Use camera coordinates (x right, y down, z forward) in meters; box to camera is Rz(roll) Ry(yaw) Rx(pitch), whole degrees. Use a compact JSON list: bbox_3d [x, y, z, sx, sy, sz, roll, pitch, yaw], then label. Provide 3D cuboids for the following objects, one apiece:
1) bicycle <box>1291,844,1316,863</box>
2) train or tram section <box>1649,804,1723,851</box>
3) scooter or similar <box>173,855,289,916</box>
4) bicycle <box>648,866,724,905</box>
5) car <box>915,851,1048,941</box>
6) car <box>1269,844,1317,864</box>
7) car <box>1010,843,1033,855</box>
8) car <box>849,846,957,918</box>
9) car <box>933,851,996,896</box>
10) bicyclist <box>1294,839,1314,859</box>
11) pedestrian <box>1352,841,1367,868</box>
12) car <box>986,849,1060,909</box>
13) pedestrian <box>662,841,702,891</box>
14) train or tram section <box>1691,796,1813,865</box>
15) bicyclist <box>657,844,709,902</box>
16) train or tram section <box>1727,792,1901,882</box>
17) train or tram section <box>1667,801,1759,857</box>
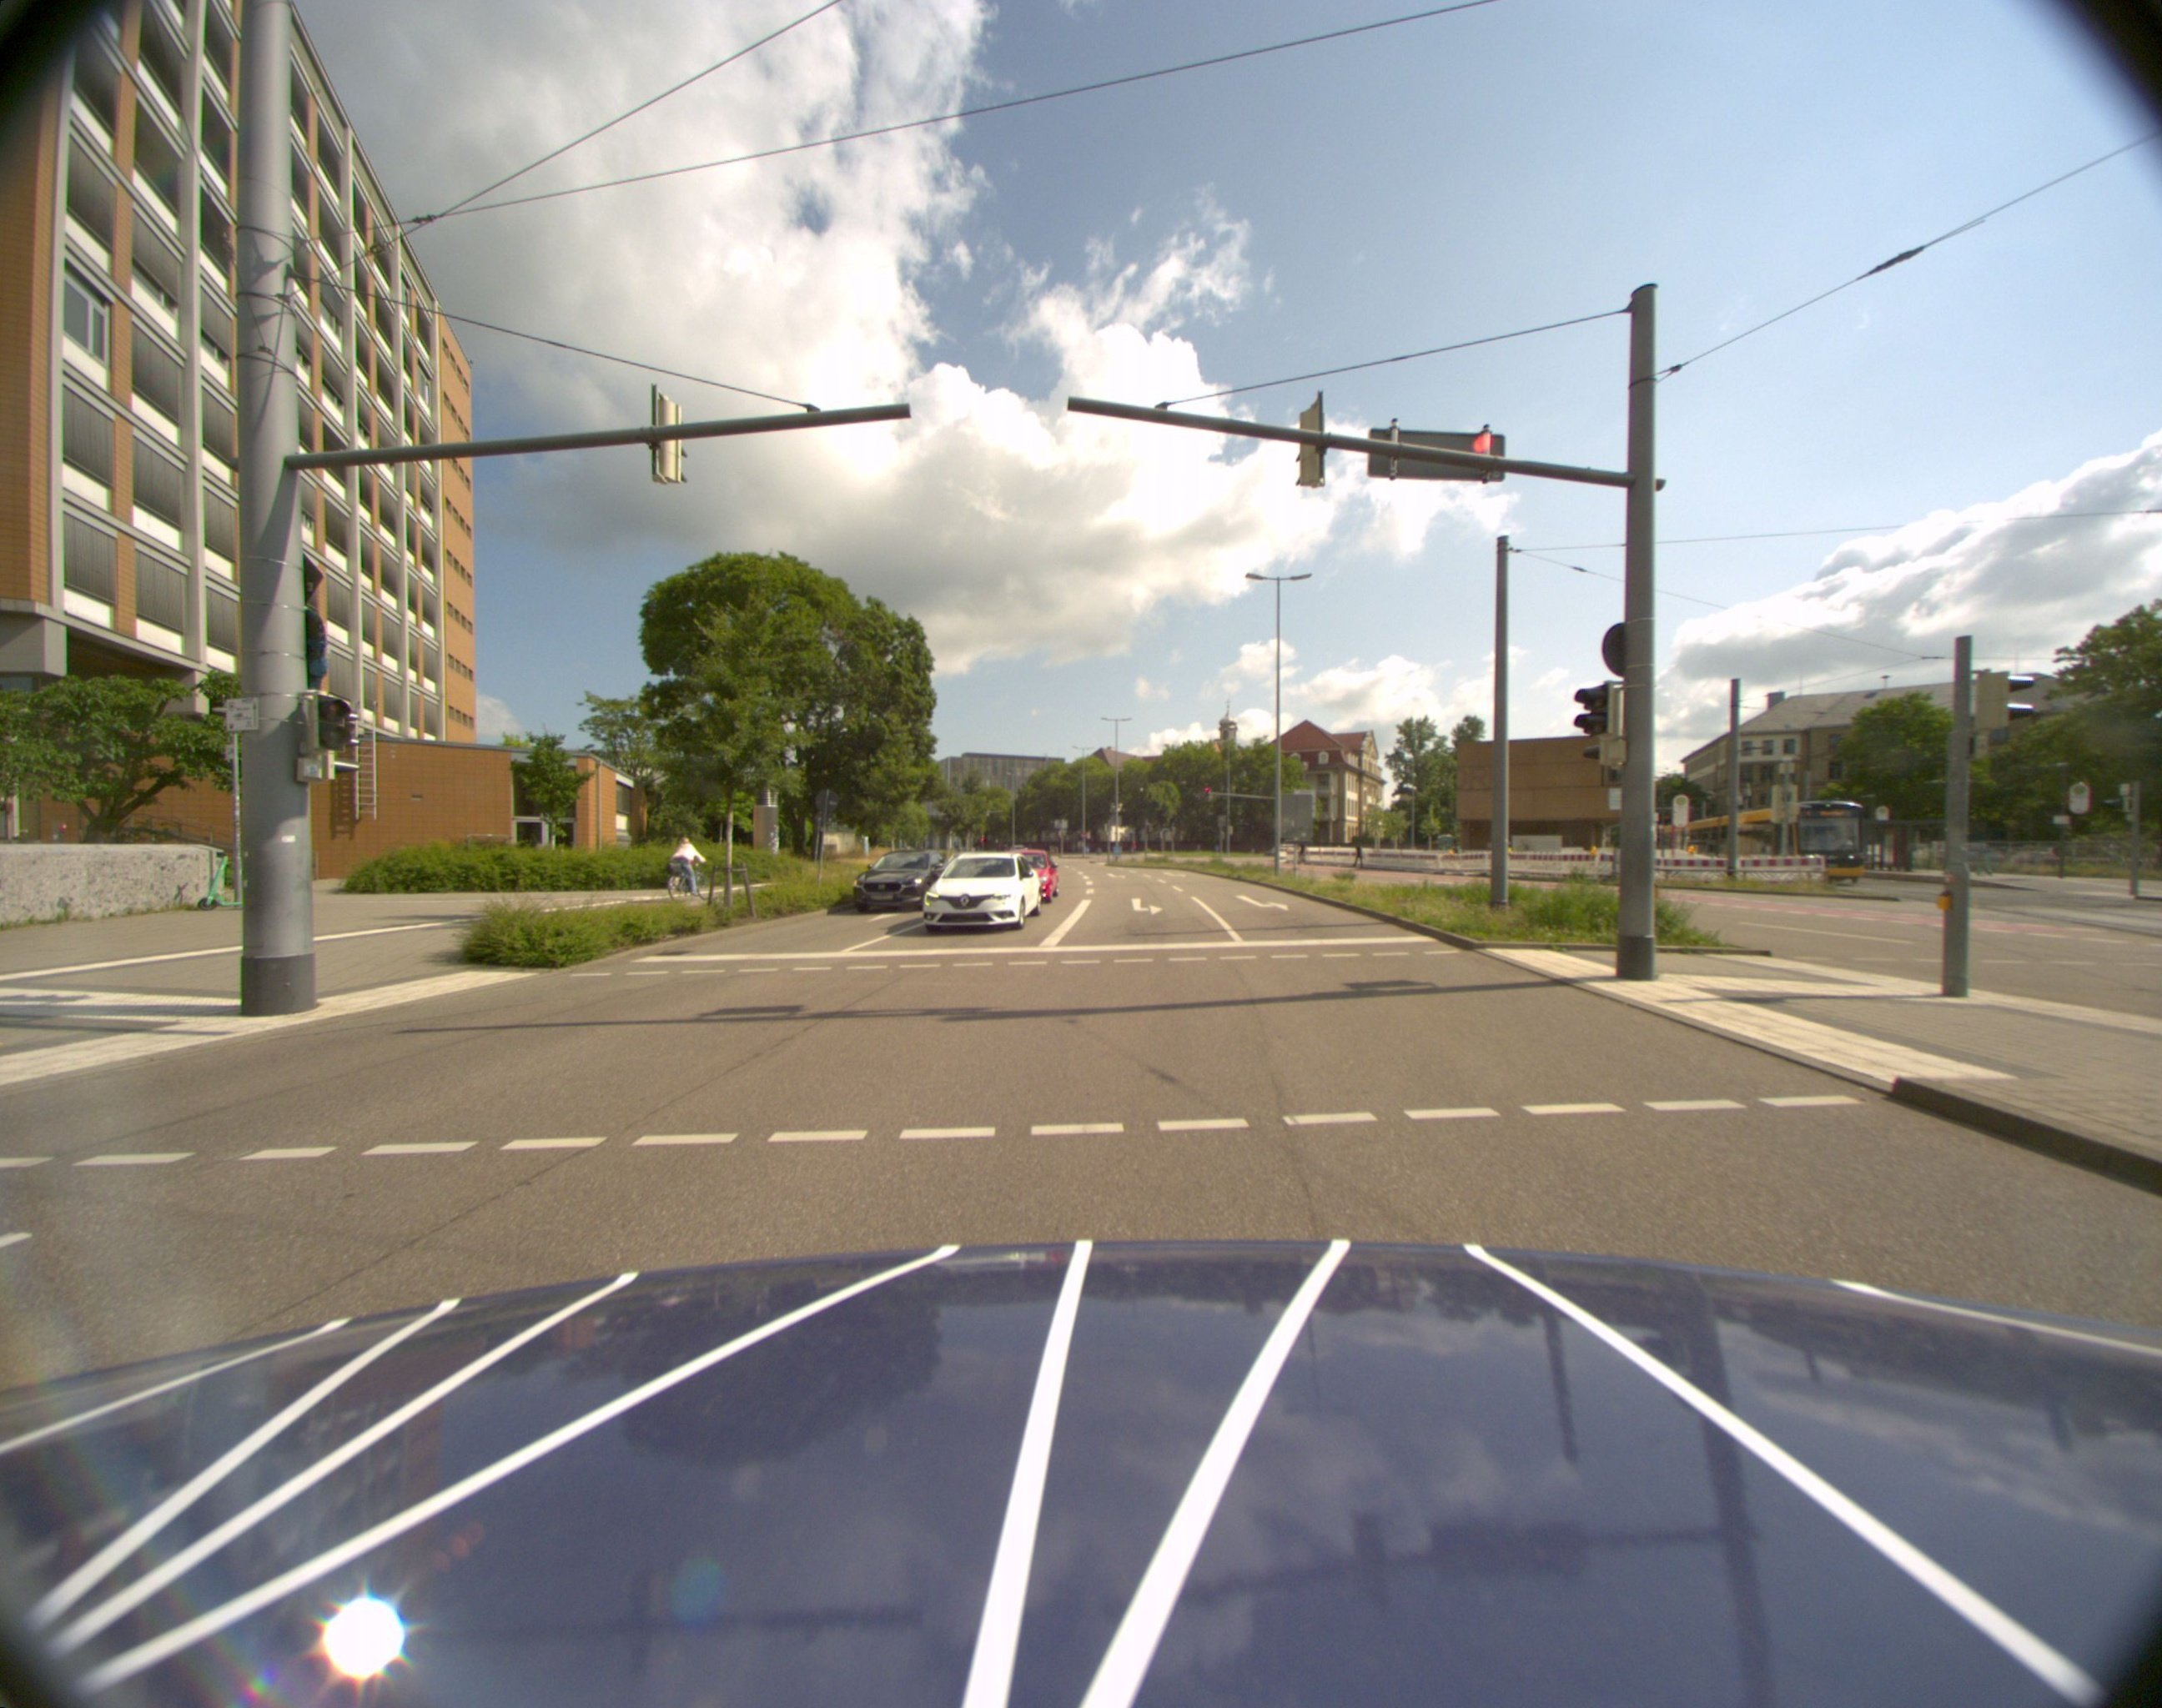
[{"bbox_3d":[16.877,-0.043,57.692,0.973,1.403,2.292,0,1,-7],"label":"bicycle"},{"bbox_3d":[48.903,-2.138,61.736,3.315,3.461,10.626,-1,2,31],"label":"train or tram section"},{"bbox_3d":[-17.190,0.631,15.396,0.433,1.176,1.541,1,0,40],"label":"scooter or similar"},{"bbox_3d":[-10.196,0.792,19.733,0.652,0.892,2.276,0,1,4],"label":"bicycle"},{"bbox_3d":[-1.851,0.737,15.610,1.761,1.421,4.674,-2,2,4],"label":"car"},{"bbox_3d":[19.374,-0.052,69.500,3.990,1.773,2.003,0,1,23],"label":"car"},{"bbox_3d":[-7.834,-0.627,100.230,1.834,1.517,3.992,0,1,-22],"label":"car"},{"bbox_3d":[-4.505,0.639,19.889,1.645,1.567,4.211,-2,2,2],"label":"car"},{"bbox_3d":[-4.178,0.654,27.821,1.587,1.377,4.077,-2,2,0],"label":"car"},{"bbox_3d":[16.904,-0.384,57.694,0.778,1.554,1.774,0,1,-7],"label":"bicyclist"},{"bbox_3d":[18.407,0.026,50.167,0.652,1.754,1.001,0,1,2],"label":"pedestrian"},{"bbox_3d":[-1.576,0.645,21.883,1.645,1.459,4.064,-2,2,2],"label":"car"},{"bbox_3d":[-12.924,0.379,24.619,0.959,1.569,0.767,-1,2,-42],"label":"pedestrian"},{"bbox_3d":[38.014,-1.350,43.527,3.315,3.461,10.626,-1,2,31],"label":"train or tram section"},{"bbox_3d":[-10.219,0.468,19.551,0.635,1.449,1.170,0,1,4],"label":"bicyclist"},{"bbox_3d":[32.522,-0.823,34.363,3.315,3.461,10.626,-1,2,31],"label":"train or tram section"},{"bbox_3d":[43.458,-1.744,52.633,3.315,3.461,10.626,-1,2,31],"label":"train or tram section"}]
